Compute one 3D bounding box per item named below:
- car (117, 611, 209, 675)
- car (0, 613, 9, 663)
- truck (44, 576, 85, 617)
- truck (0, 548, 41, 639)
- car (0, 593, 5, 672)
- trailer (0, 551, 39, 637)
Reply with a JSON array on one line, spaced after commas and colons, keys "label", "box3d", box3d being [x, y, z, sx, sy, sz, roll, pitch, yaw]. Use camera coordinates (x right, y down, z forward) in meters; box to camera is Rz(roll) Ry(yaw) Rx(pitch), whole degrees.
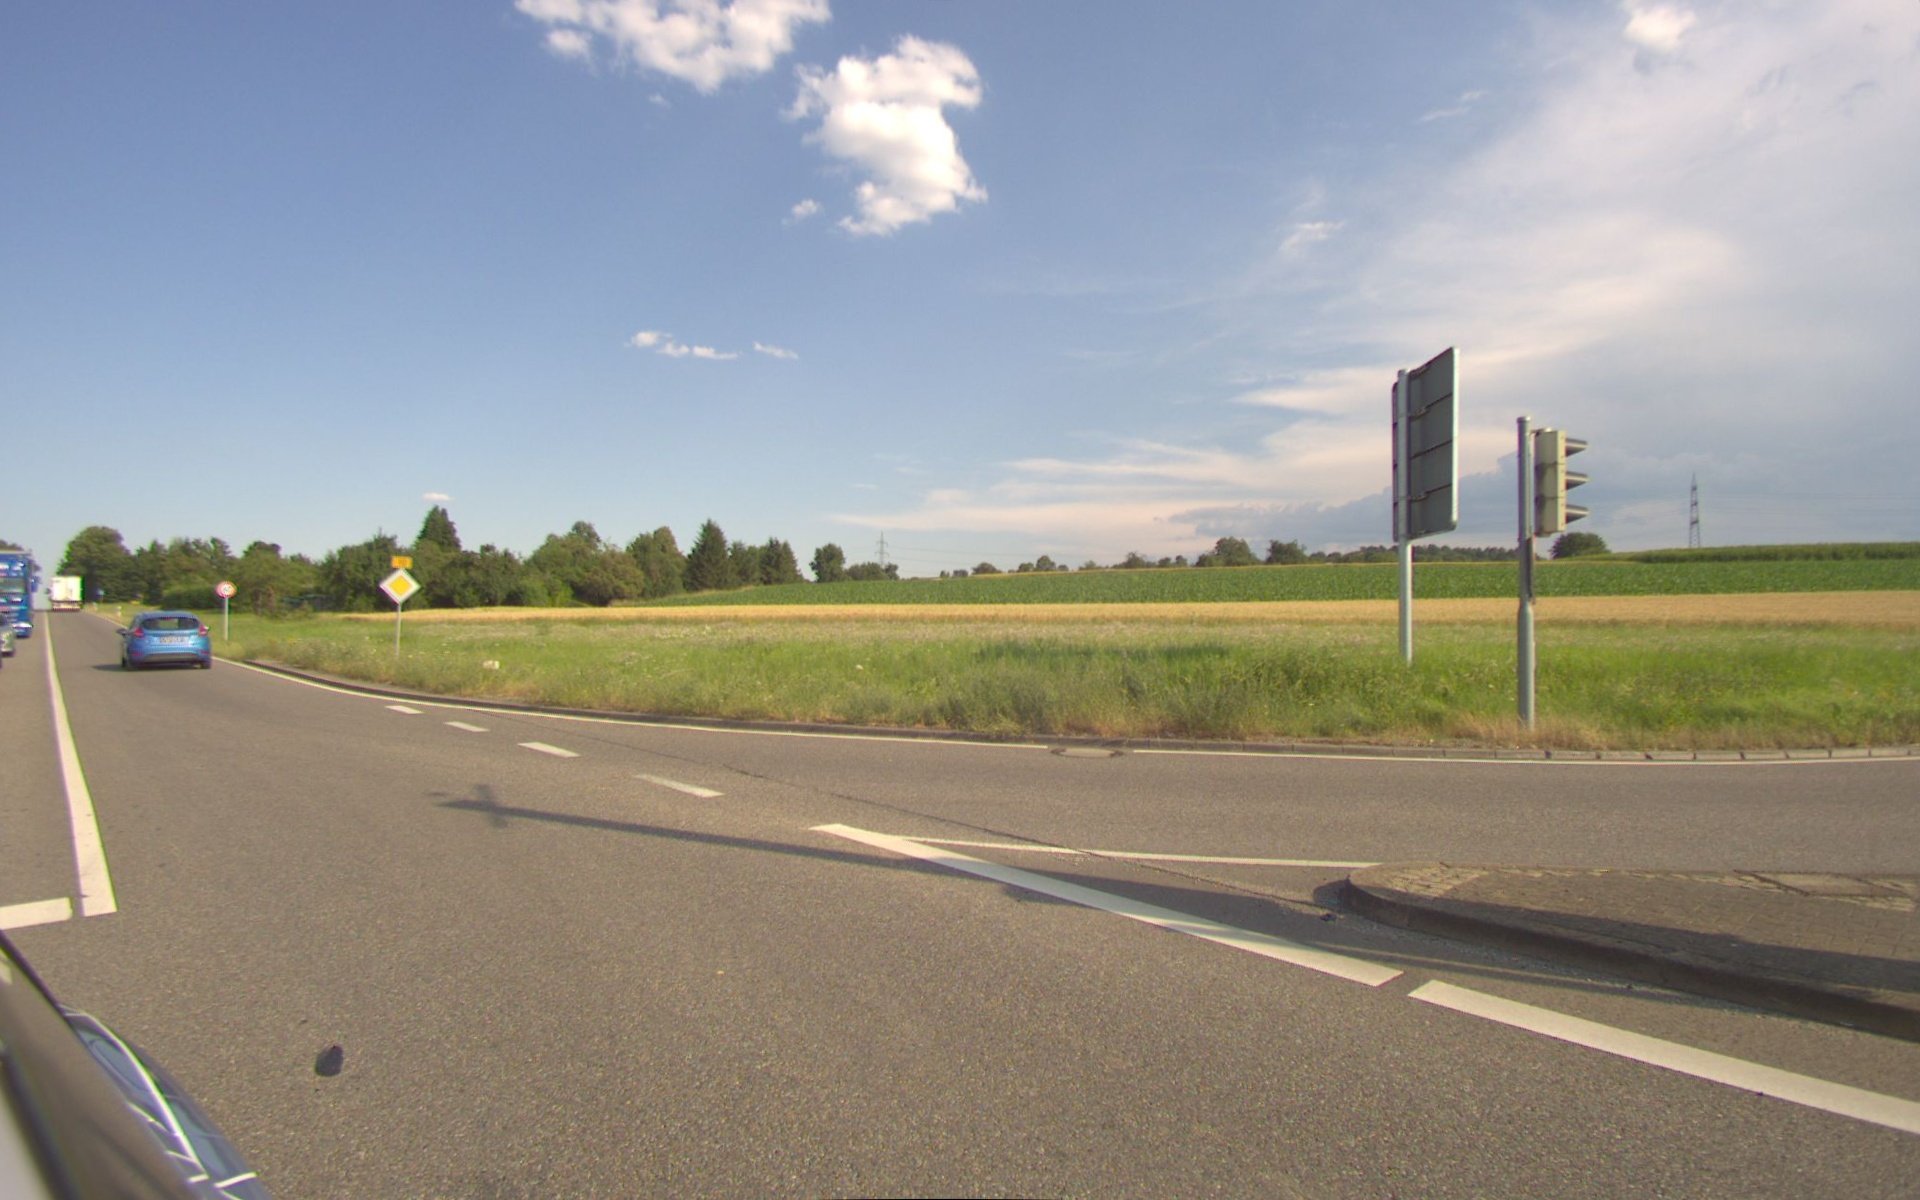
[{"label": "car", "box3d": [-20.590, 1.077, 26.129, 1.737, 1.512, 4.007, 1, -2, -39]}, {"label": "car", "box3d": [-31.129, 1.180, 31.677, 1.970, 1.497, 4.004, -1, 0, -43]}, {"label": "truck", "box3d": [-104.099, -0.401, 117.616, 3.399, 4.531, 9.497, 0, 0, -43]}, {"label": "truck", "box3d": [-44.935, -0.279, 46.958, 3.325, 4.035, 5.607, 0, 0, -43]}, {"label": "car", "box3d": [-25.203, 0.830, 25.233, 1.879, 1.962, 4.378, -1, 0, -42]}, {"label": "trailer", "box3d": [-49.733, -0.238, 52.065, 3.367, 4.035, 13.764, 0, 0, -43]}]
